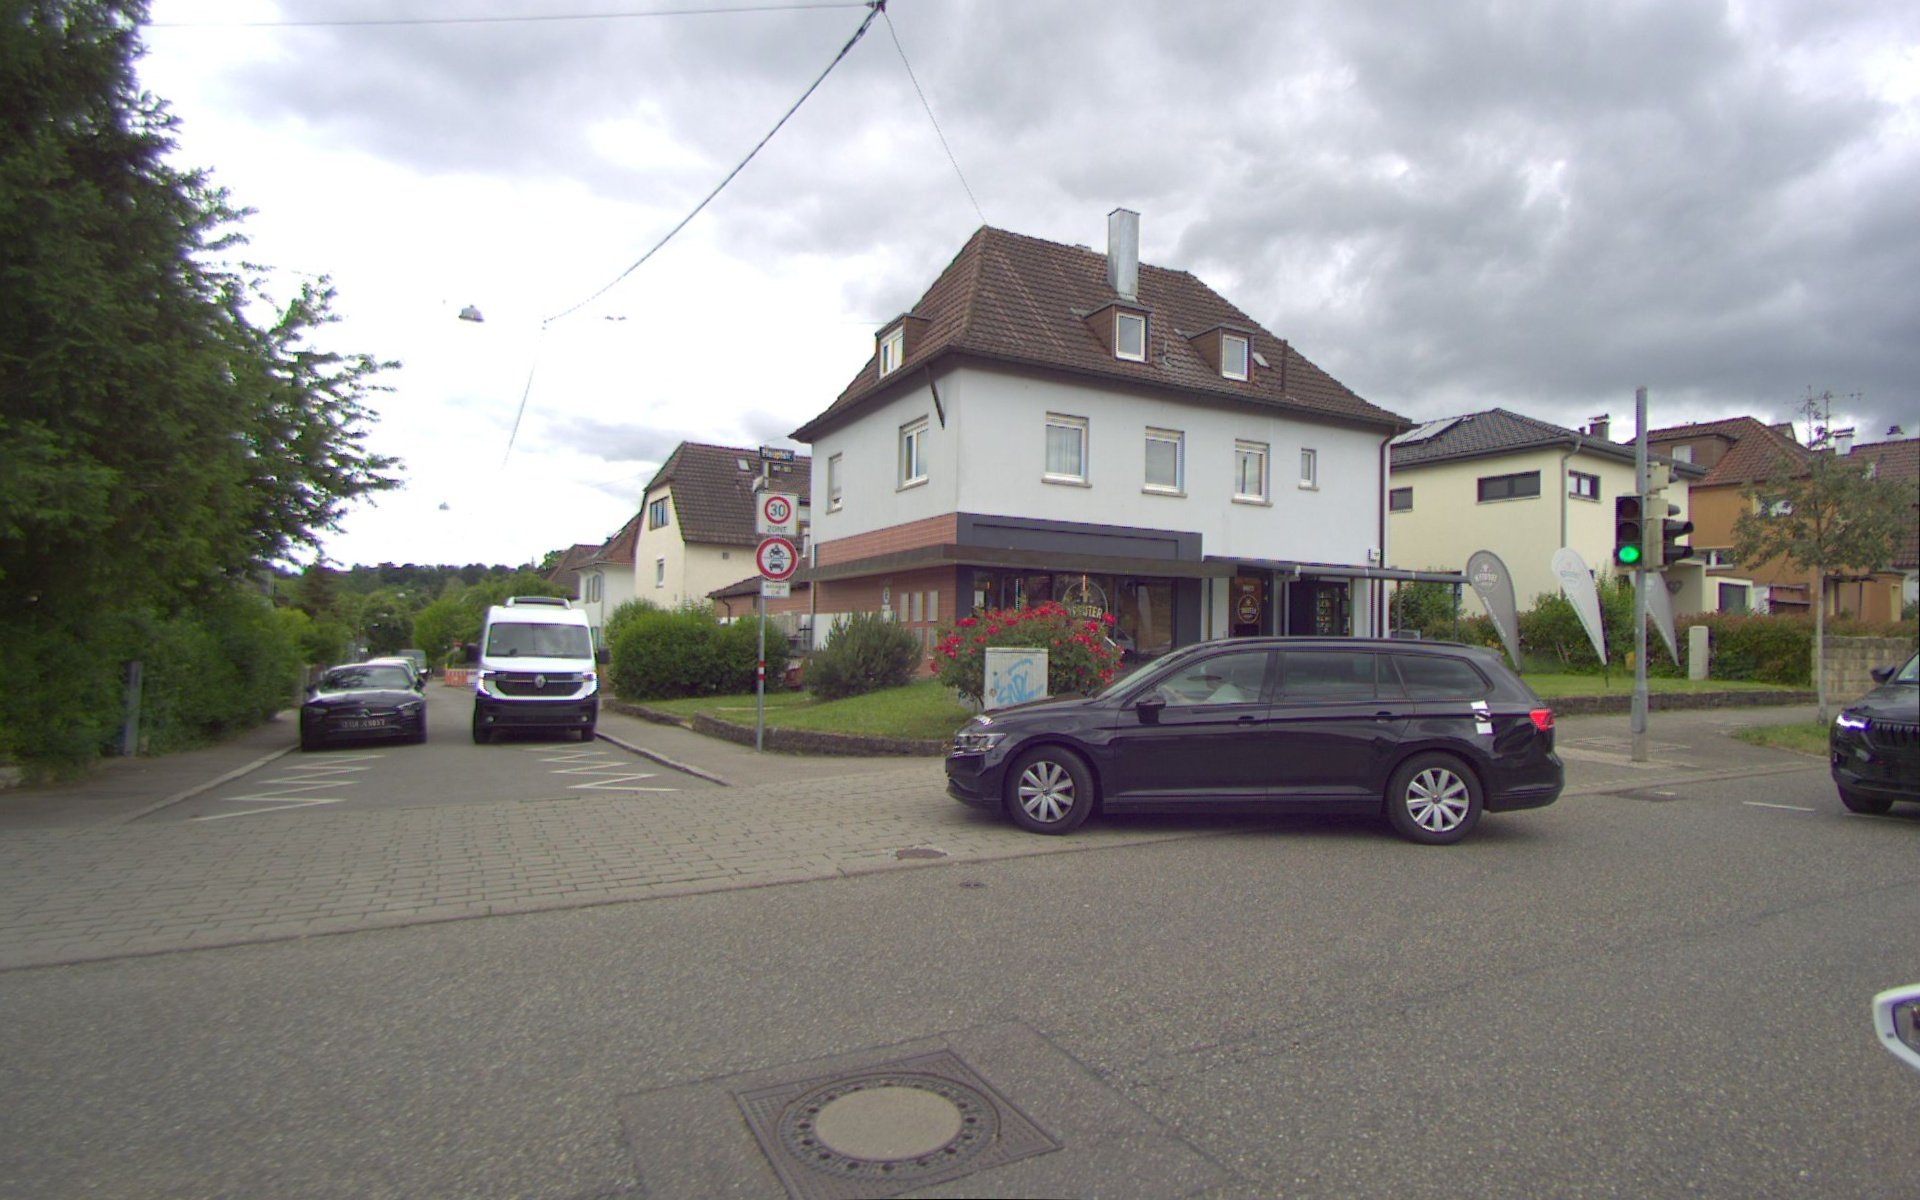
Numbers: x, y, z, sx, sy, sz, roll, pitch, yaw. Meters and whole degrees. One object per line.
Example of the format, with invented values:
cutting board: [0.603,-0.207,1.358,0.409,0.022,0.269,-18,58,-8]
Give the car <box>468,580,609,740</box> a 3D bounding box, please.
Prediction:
car: [-8.220,1.170,19.357,2.102,2.596,5.589,2,-4,-25]

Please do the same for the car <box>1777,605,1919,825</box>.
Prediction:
car: [8.962,0.896,8.419,3.950,1.645,1.888,1,-4,-28]

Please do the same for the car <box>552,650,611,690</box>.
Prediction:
car: [-15.753,2.862,41.714,1.789,1.541,3.722,1,-3,-29]

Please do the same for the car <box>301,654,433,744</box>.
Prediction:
car: [-10.563,1.711,18.132,1.774,1.371,4.106,0,-3,-27]

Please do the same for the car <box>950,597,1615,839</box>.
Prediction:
car: [2.298,0.838,8.084,4.554,1.642,2.001,0,-2,6]

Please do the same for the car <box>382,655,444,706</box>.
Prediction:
car: [-18.143,2.623,33.299,1.692,1.541,3.429,1,-3,-29]
